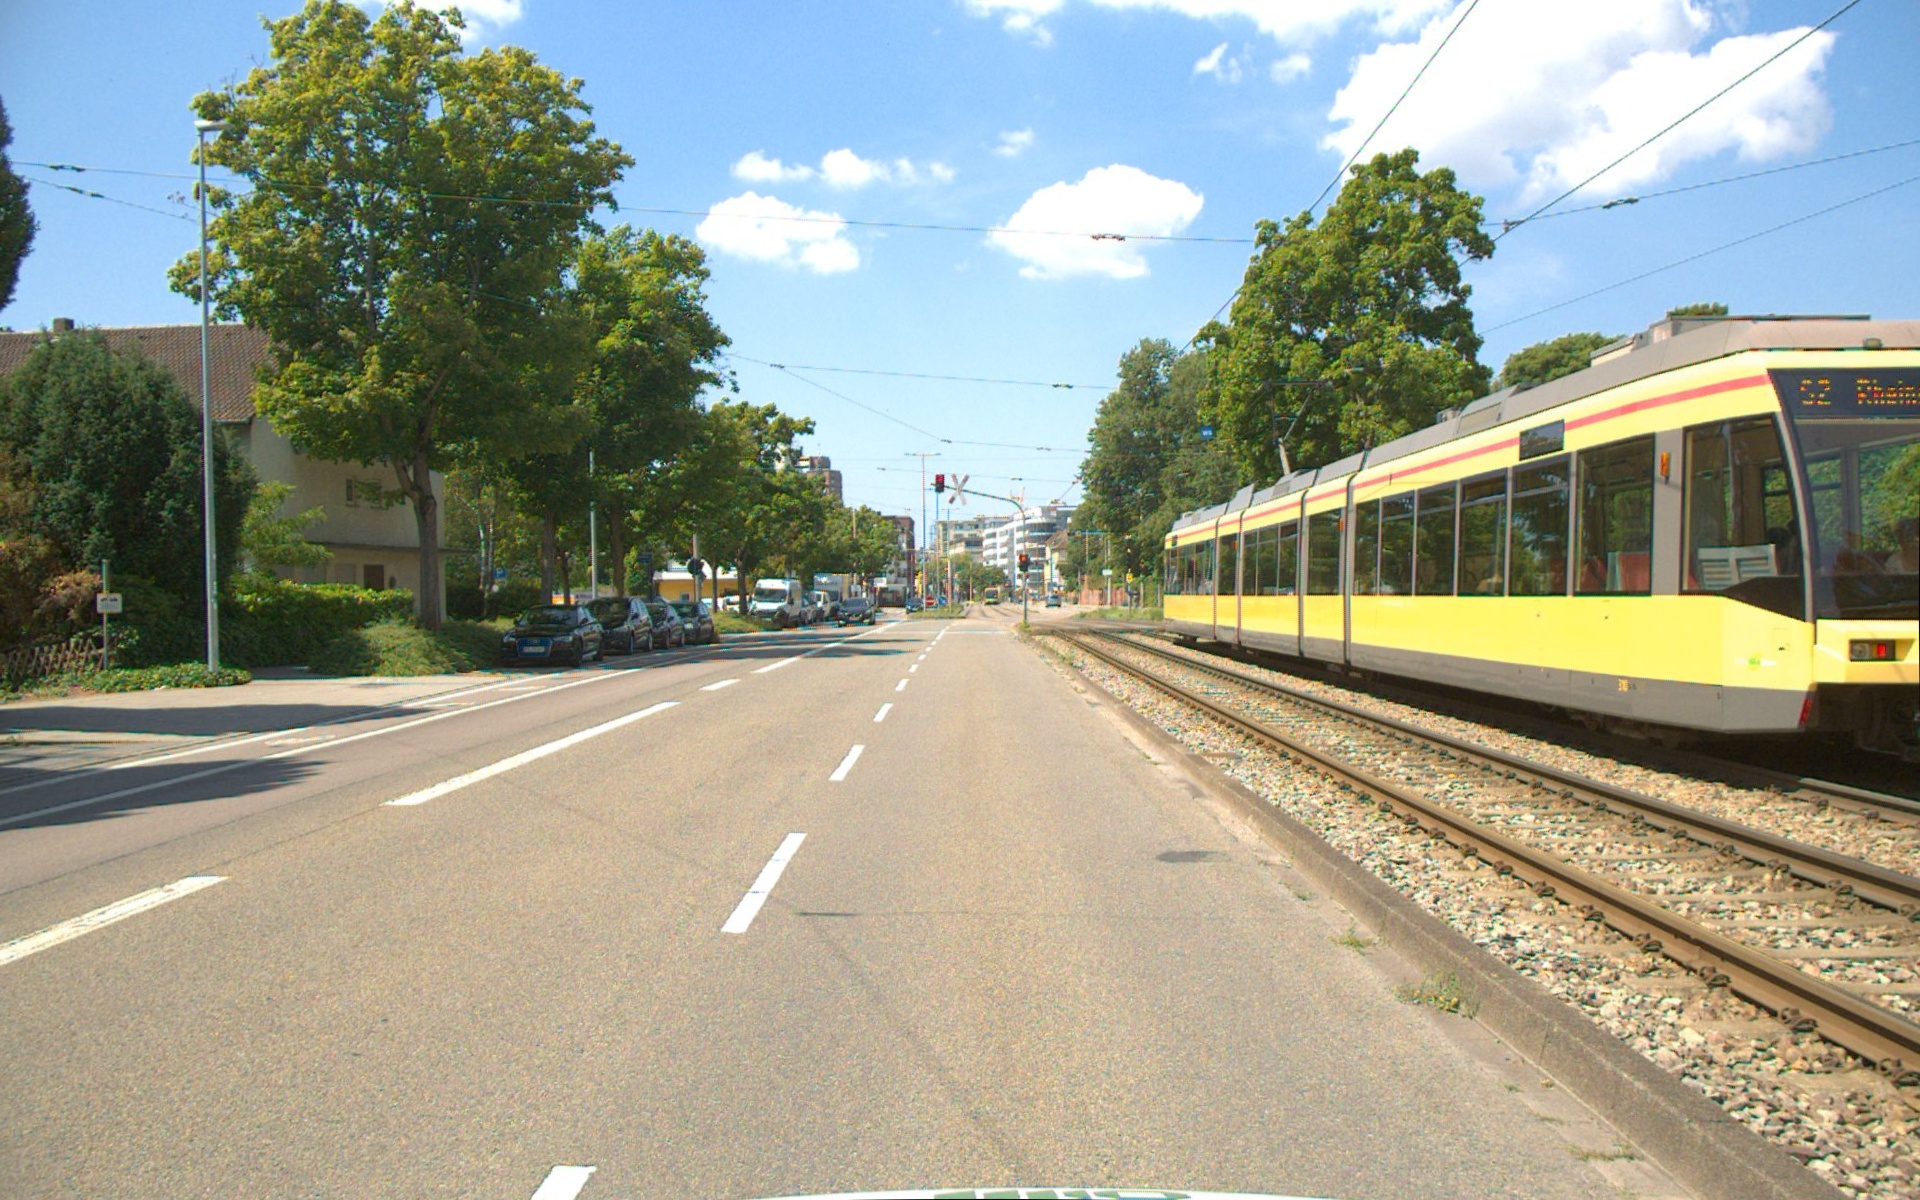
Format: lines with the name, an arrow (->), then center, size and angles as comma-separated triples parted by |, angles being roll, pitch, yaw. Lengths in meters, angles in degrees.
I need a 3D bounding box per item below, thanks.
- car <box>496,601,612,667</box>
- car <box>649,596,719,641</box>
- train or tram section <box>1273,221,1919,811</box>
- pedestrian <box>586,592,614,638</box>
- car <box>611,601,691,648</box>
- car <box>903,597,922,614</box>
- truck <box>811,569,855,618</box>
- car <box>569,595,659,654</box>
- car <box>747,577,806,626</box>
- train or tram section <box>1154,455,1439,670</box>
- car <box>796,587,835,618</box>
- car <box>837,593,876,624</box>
car -> -9.939, 0.790, 40.857 | 1.738, 1.481, 4.803 | -1, 0, -1
car -> -9.761, 0.634, 58.735 | 1.738, 1.506, 4.048 | 1, 0, 1
train or tram section -> 6.854, -0.589, 19.730 | 2.883, 3.756, 18.389 | 0, 0, 0
pedestrian -> -14.685, 0.614, 67.535 | 0.955, 1.855, 0.794 | -1, 0, -2
car -> -9.968, 0.759, 53.661 | 1.738, 1.397, 4.696 | 1, 0, -1
car -> -4.430, 0.494, 155.667 | 1.644, 1.422, 4.005 | -3, 0, -1
truck -> -8.920, -0.430, 116.621 | 2.112, 3.266, 7.085 | 2, 0, 3
car -> -10.041, 0.676, 48.305 | 1.738, 1.632, 4.636 | 0, 0, -1
car -> -9.769, 0.072, 88.502 | 2.112, 2.530, 6.195 | 1, 0, 3
train or tram section -> 7.062, -0.713, 39.021 | 2.883, 3.756, 20.285 | 0, 0, 1
car -> -9.433, 0.179, 108.167 | 2.018, 1.931, 4.872 | -1, 0, 1
car -> -5.261, 0.425, 84.279 | 1.739, 1.485, 4.194 | -2, 0, -1
